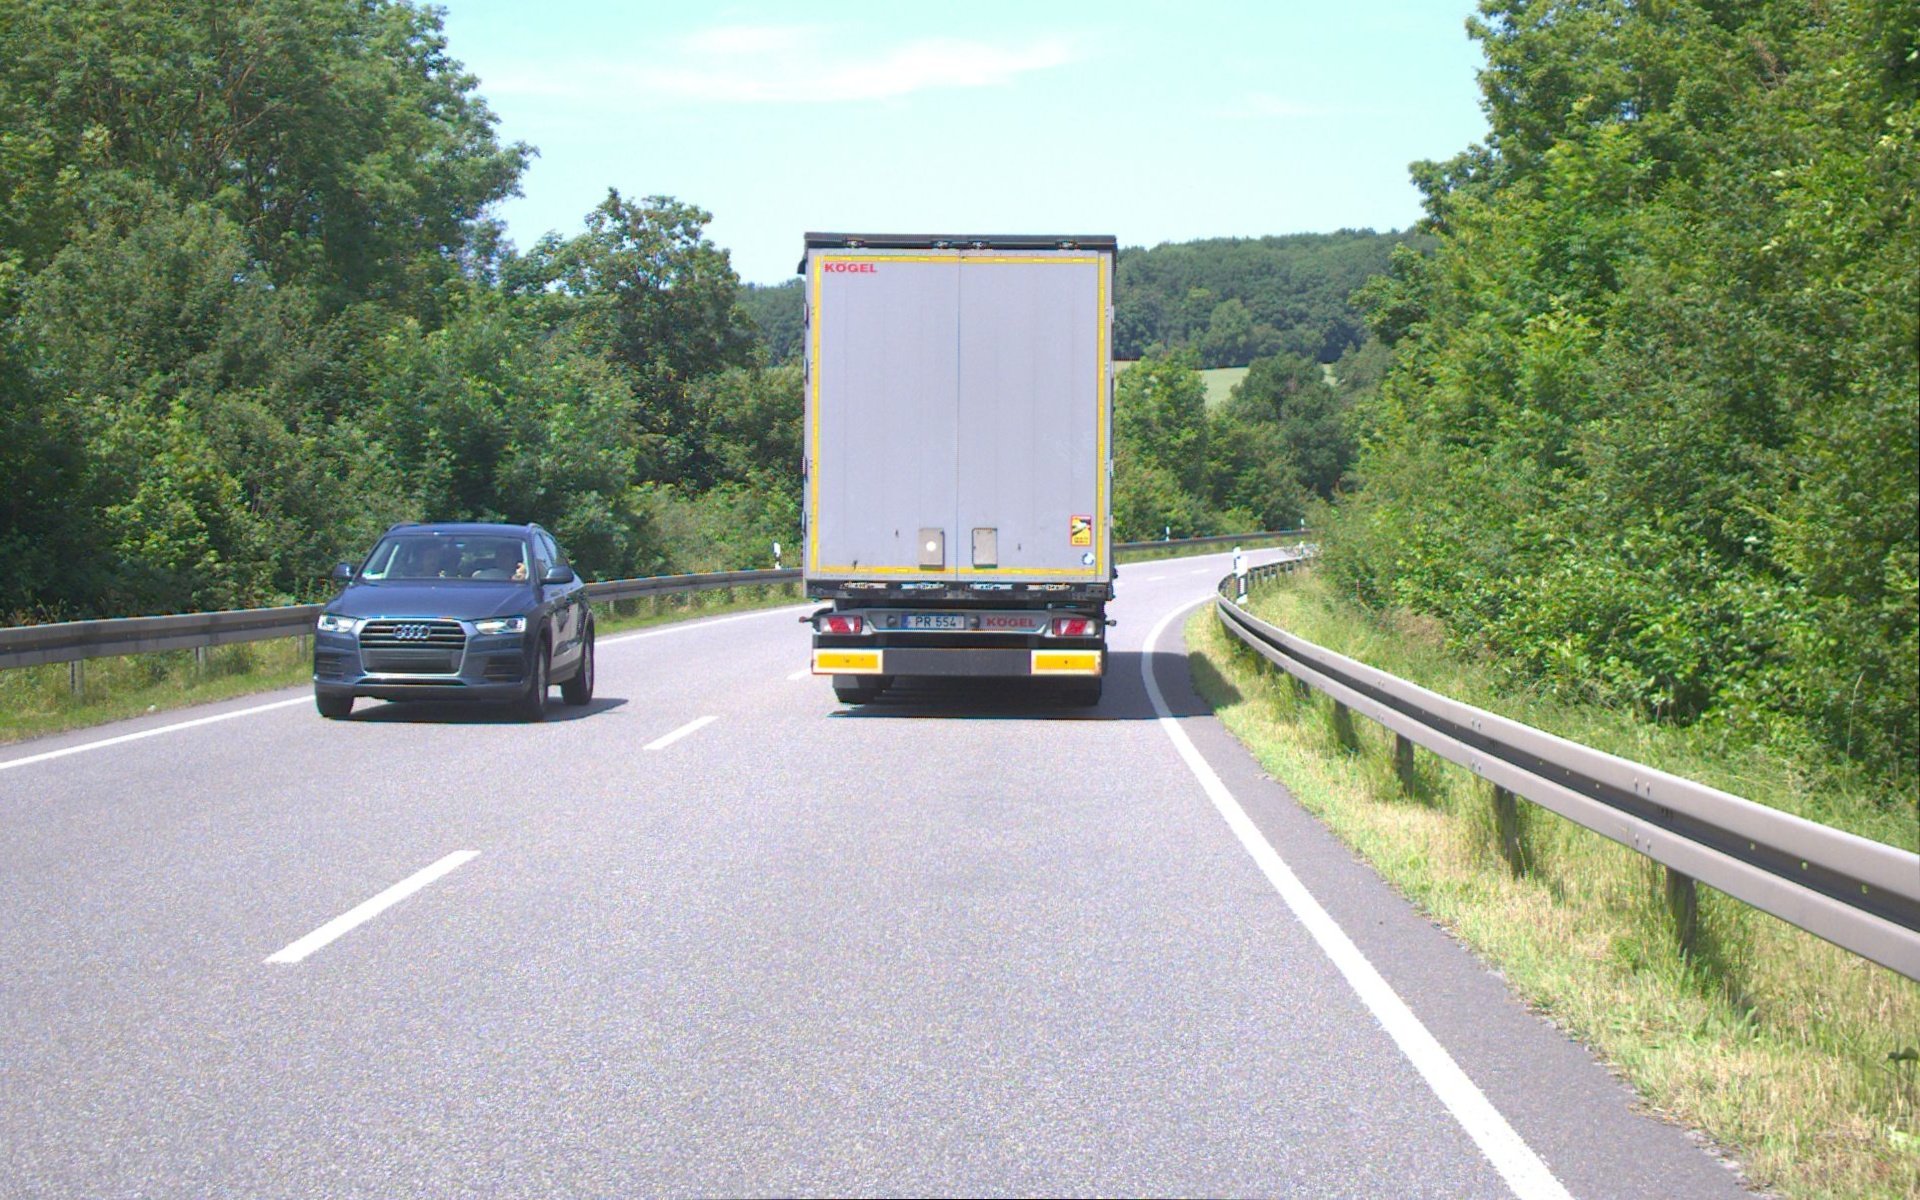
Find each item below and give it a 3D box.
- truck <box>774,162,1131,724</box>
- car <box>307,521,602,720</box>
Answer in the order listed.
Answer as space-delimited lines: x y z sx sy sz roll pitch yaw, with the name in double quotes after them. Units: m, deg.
0.124 -1.395 33.890 2.817 4.517 11.768 1 1 2 "truck"
-4.139 0.126 28.697 1.863 1.522 3.891 1 1 0 "car"
